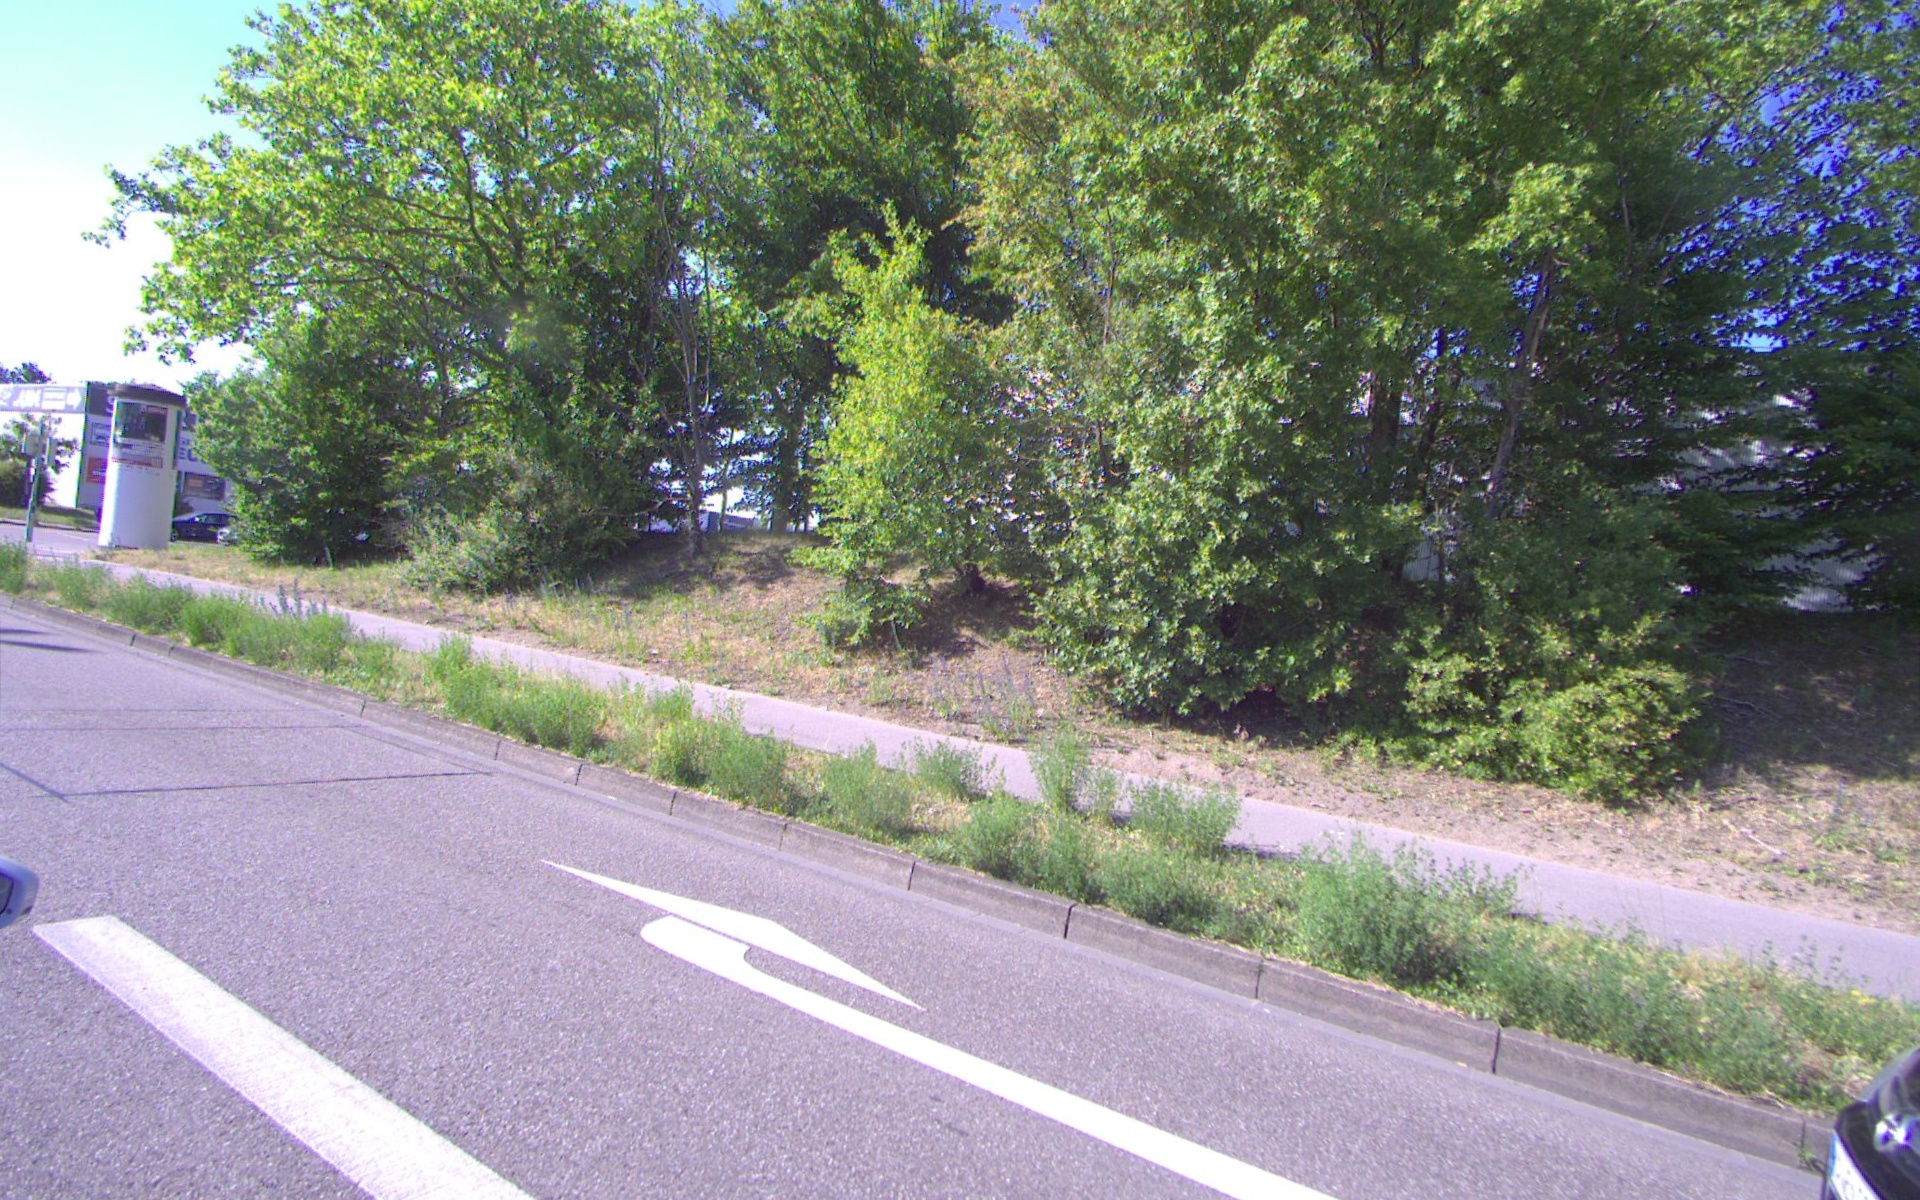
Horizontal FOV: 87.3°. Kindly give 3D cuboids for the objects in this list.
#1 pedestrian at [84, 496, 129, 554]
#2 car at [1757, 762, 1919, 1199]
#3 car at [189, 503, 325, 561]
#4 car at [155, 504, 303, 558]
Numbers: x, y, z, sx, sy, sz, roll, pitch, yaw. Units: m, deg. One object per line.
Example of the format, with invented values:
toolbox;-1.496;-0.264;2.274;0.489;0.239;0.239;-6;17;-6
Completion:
pedestrian;-26.861;-2.360;31.656;0.506;1.688;0.818;6;-1;31
car;3.958;1.358;1.286;4.299;1.458;1.737;7;-2;32
car;-29.630;-2.835;42.525;1.611;1.668;4.315;6;-2;31
car;-31.715;-2.958;43.804;1.729;1.484;4.830;6;-2;30
